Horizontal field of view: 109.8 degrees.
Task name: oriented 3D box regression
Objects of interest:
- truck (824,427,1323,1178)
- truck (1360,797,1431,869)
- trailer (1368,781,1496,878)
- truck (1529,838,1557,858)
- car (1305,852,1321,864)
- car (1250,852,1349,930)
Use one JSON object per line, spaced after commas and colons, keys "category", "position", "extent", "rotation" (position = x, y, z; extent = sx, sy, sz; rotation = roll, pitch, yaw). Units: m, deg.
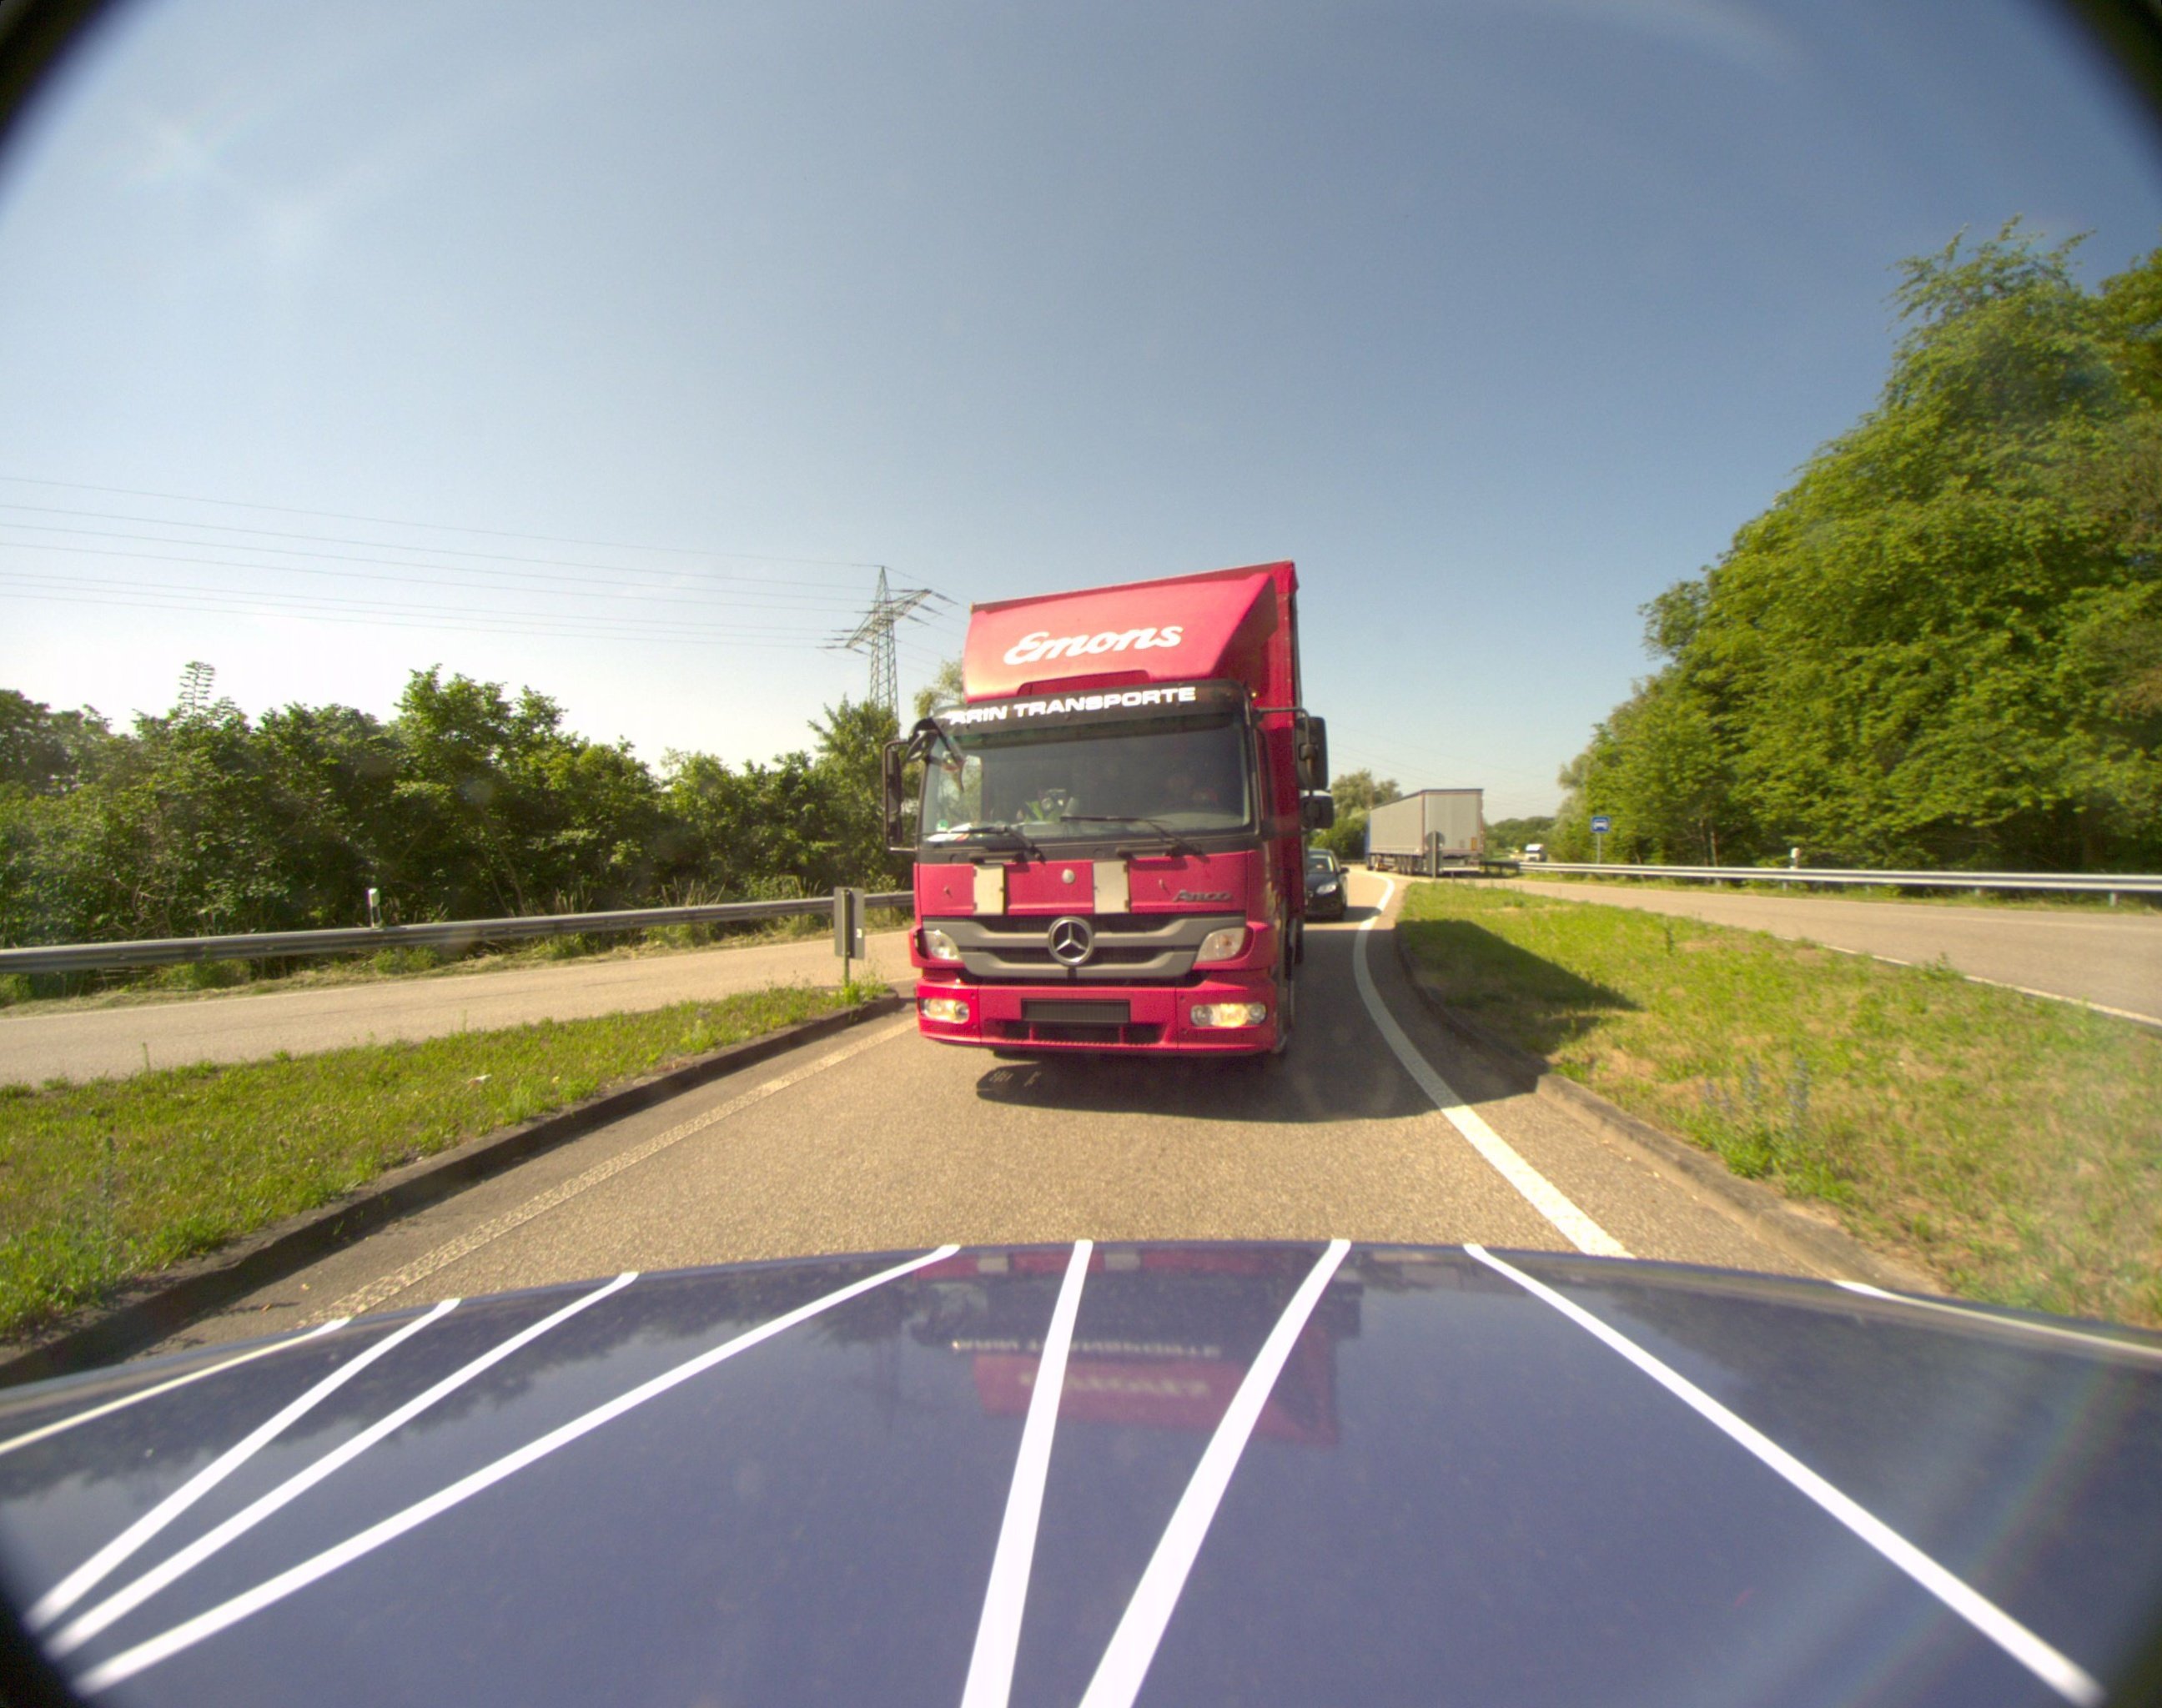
{"category": "truck", "position": [1.180, -0.265, 8.507], "extent": [2.686, 3.640, 9.273], "rotation": [-1, 0, 17]}
{"category": "truck", "position": [19.510, -1.270, 47.536], "extent": [2.936, 4.222, 5.737], "rotation": [1, 1, 11]}
{"category": "trailer", "position": [18.118, -1.129, 40.524], "extent": [2.954, 4.243, 13.992], "rotation": [1, 1, 11]}
{"category": "truck", "position": [98.098, -1.194, 161.423], "extent": [5.743, 4.214, 2.932], "rotation": [0, 1, -35]}
{"category": "car", "position": [28.267, 0.459, 92.533], "extent": [1.785, 1.377, 4.383], "rotation": [-2, 0, 17]}
{"category": "car", "position": [4.837, 0.715, 16.441], "extent": [1.785, 1.406, 4.005], "rotation": [-1, 0, 20]}
